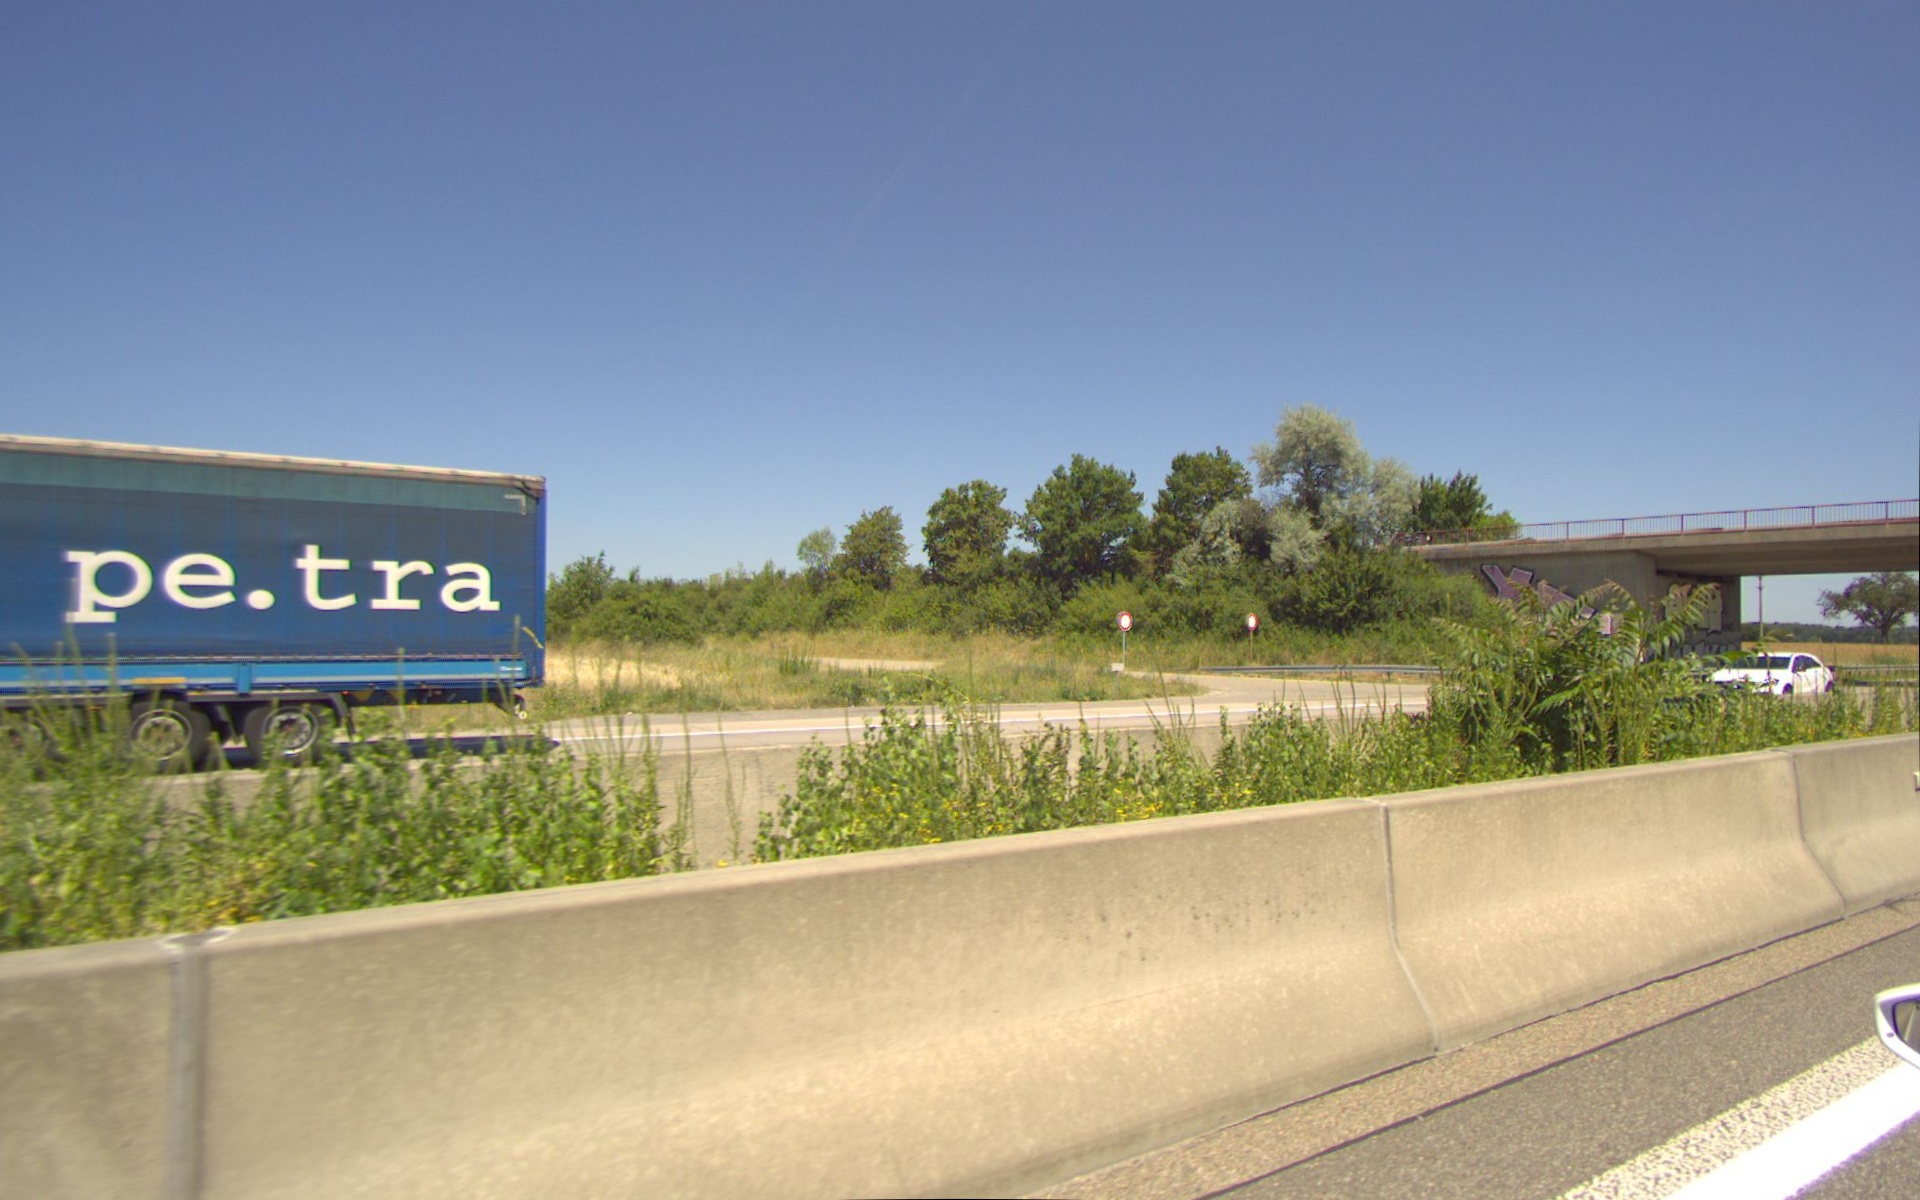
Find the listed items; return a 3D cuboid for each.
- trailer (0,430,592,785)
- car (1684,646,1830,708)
[{"bbox_3d":[-11.650,0.135,12.404,13.069,3.990,2.821,1,-3,-31],"label":"trailer"},{"bbox_3d":[21.627,2.057,27.248,3.831,1.564,1.798,1,-4,-30],"label":"car"}]
